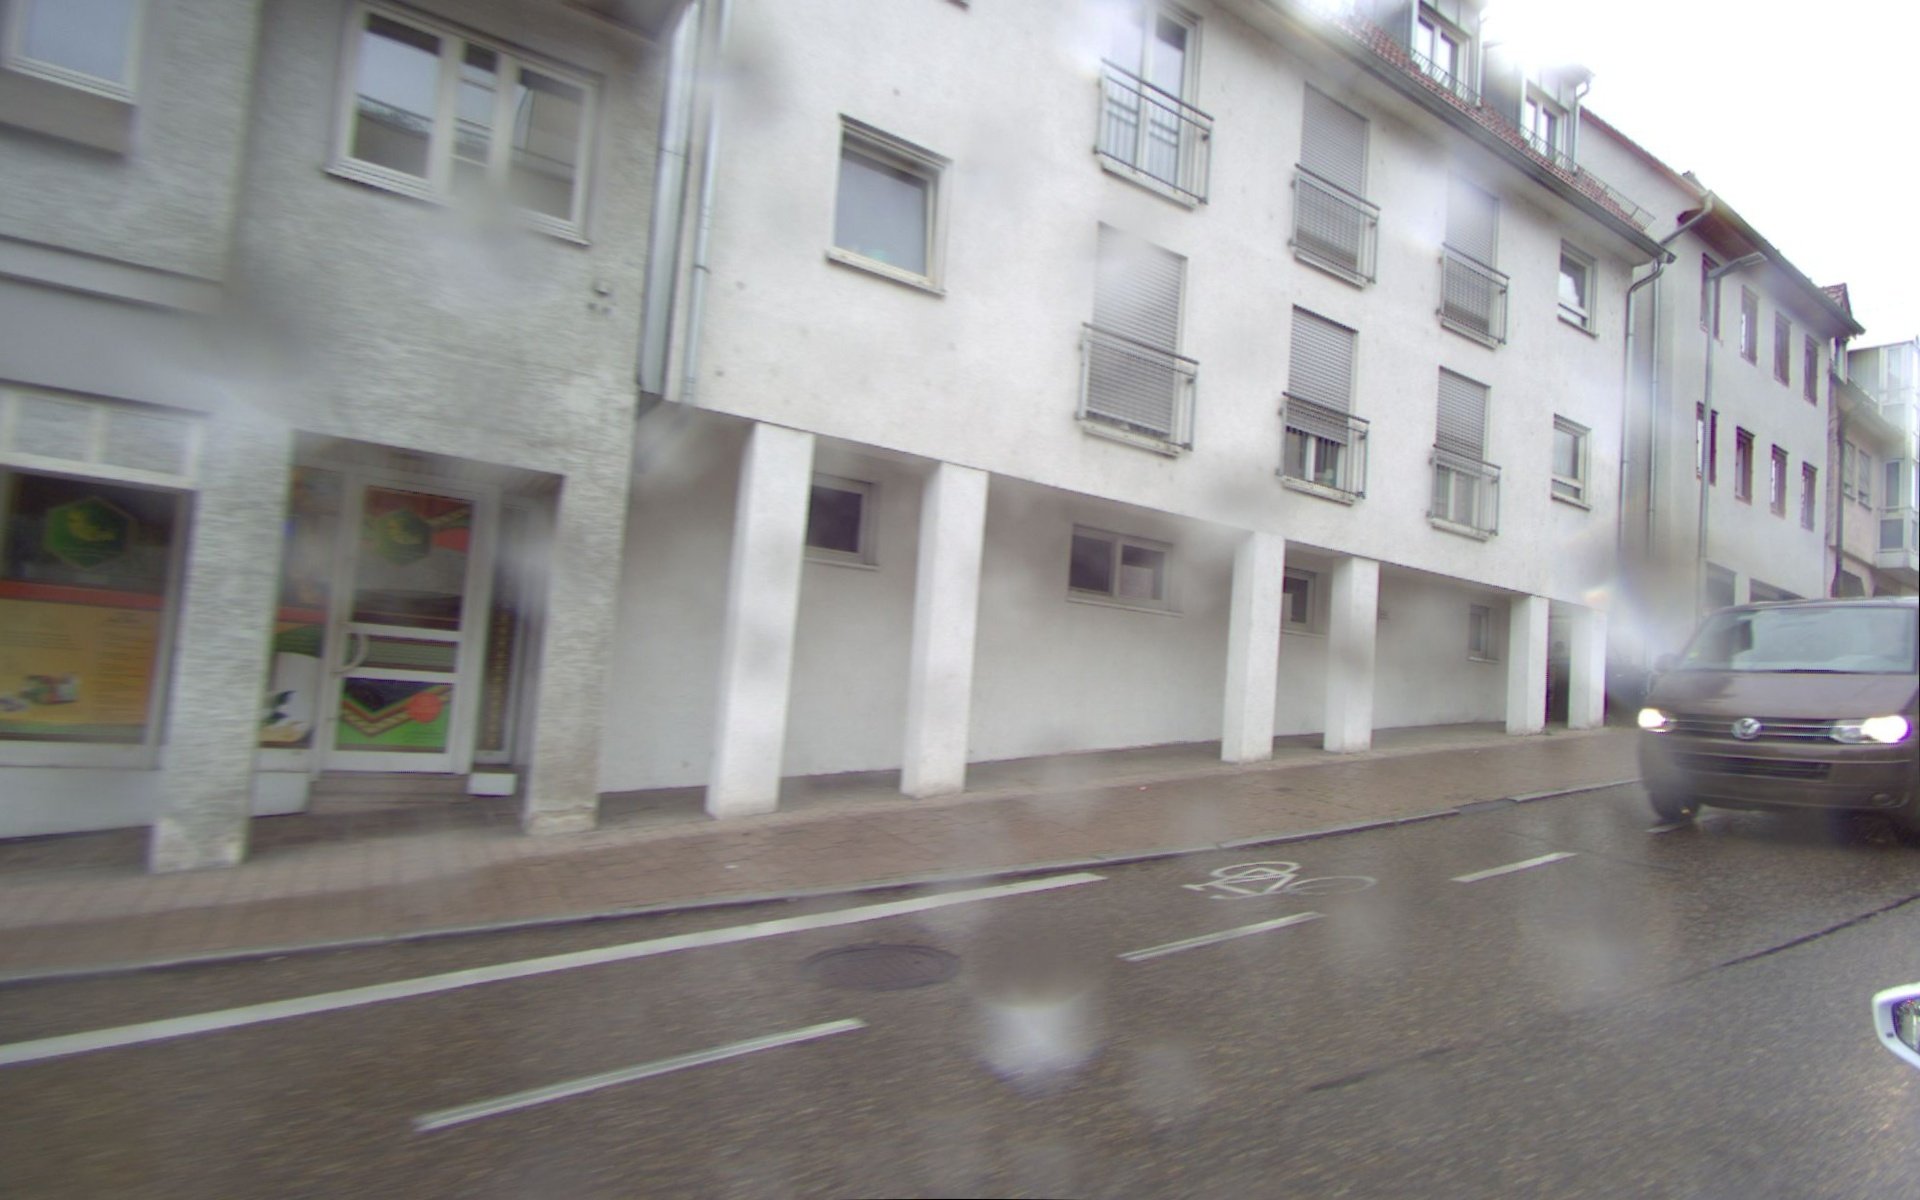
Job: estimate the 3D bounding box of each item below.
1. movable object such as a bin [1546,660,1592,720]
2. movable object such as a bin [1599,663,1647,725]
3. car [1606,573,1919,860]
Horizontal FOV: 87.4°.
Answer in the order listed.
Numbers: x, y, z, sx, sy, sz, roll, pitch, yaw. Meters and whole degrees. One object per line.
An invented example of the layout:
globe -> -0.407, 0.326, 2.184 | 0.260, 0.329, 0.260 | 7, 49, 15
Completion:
movable object such as a bin -> 10.849, 1.596, 17.883 | 0.579, 1.020, 0.505 | 2, -2, -34
movable object such as a bin -> 11.403, 1.603, 17.275 | 0.579, 1.020, 0.505 | 2, -2, -34
car -> 7.995, 0.910, 8.972 | 4.991, 1.932, 1.920 | 2, -4, -34
